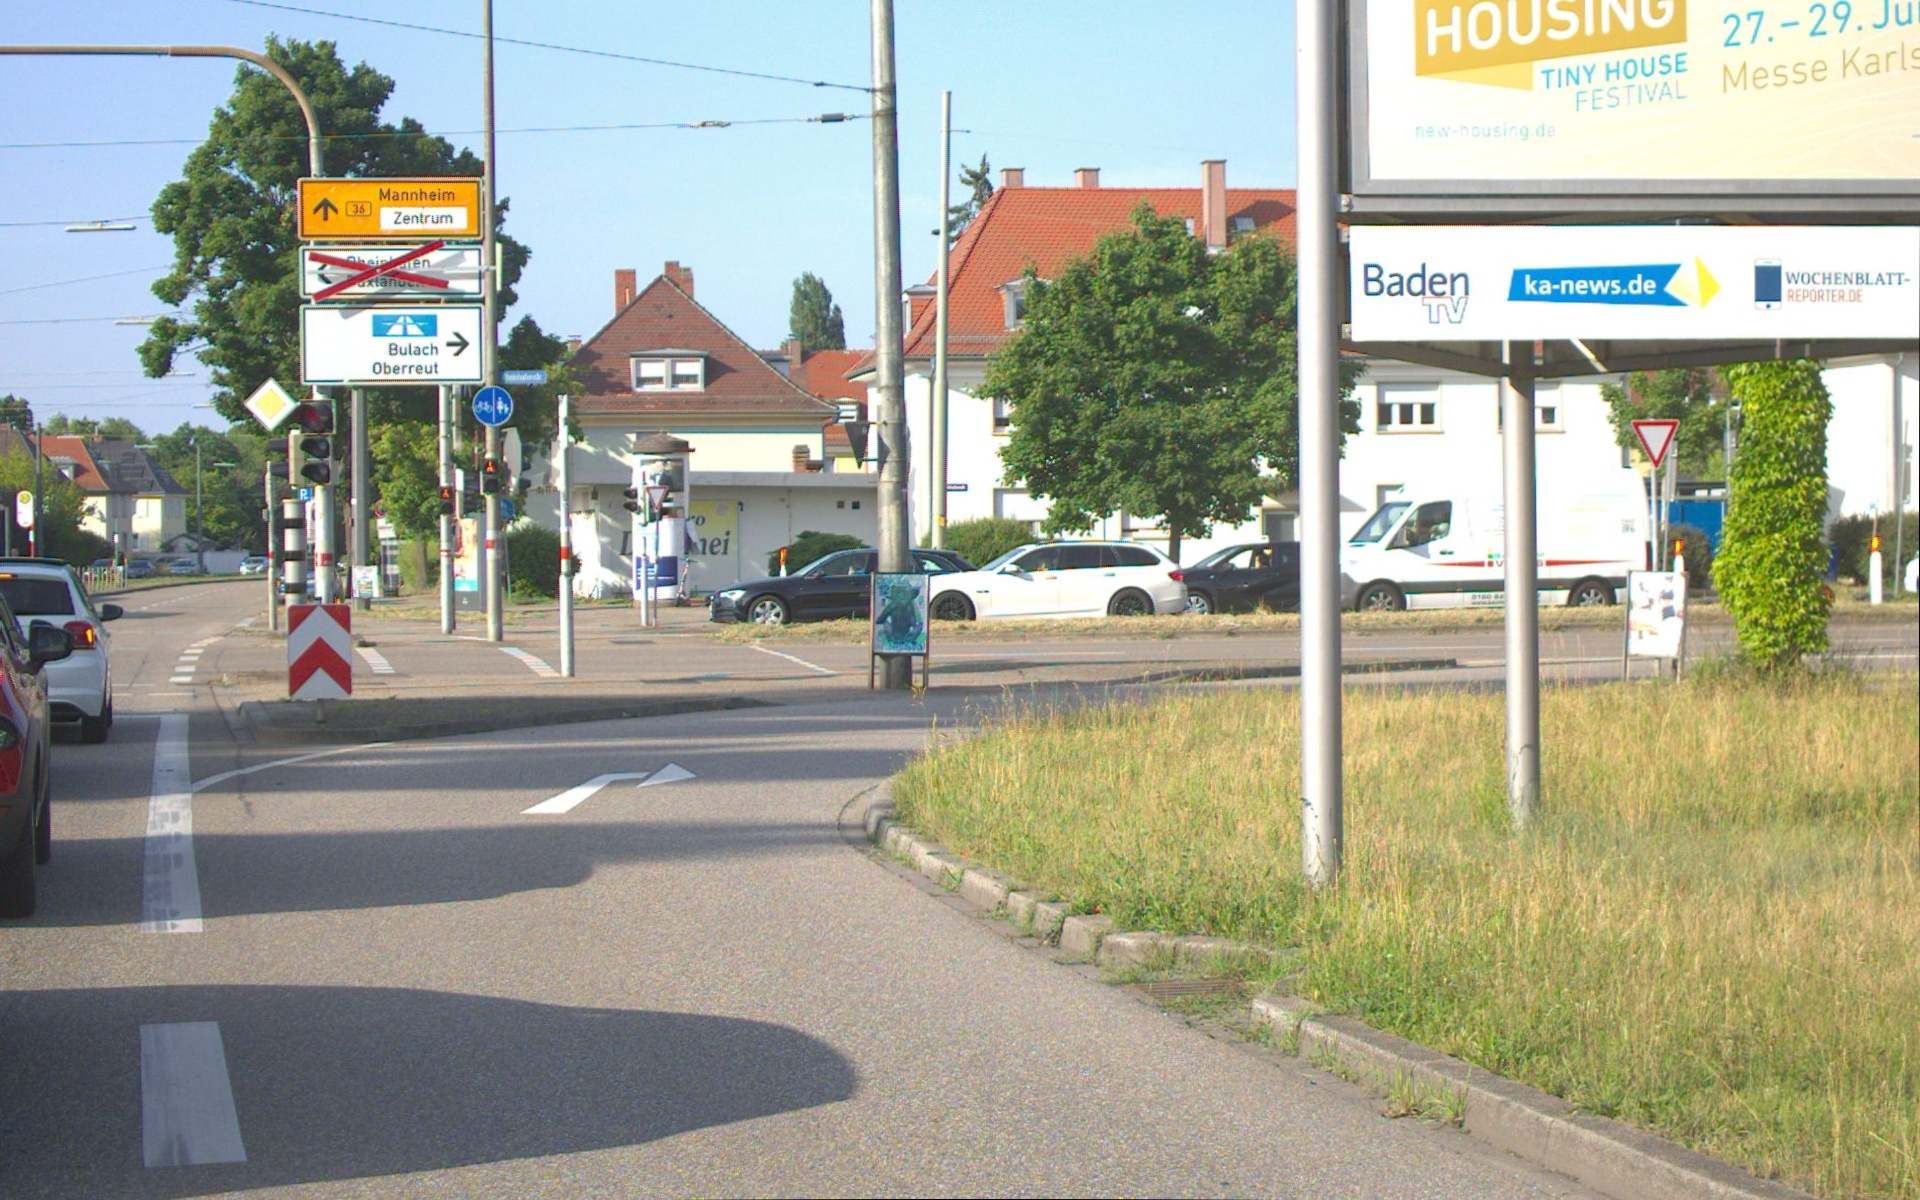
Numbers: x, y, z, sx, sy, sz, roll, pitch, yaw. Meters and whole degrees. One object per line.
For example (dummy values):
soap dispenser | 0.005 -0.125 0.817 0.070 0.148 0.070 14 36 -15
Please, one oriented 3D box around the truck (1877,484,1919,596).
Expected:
truck | 23.916 -1.340 76.732 6.353 2.515 2.272 1 2 44

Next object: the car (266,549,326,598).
car | -19.589 -0.757 101.421 1.674 1.393 4.001 1 0 -11

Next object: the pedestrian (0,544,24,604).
pedestrian | -23.780 -0.645 85.760 0.753 1.494 0.827 1 0 -9

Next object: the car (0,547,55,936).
car | -4.981 0.548 15.434 1.706 1.546 3.979 -1 1 -14

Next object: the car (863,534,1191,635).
car | 1.075 -0.271 56.408 5.093 1.557 1.840 -1 1 -11

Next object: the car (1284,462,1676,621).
car | 8.751 -0.999 57.959 6.206 2.575 2.001 -1 1 -11

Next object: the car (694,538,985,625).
car | -2.109 -0.330 59.574 4.822 1.406 1.716 -1 1 -11

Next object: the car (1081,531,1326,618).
car | 4.280 -0.460 60.676 3.986 1.448 1.716 -1 1 -11

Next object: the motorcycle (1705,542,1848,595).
motorcycle | 13.821 -0.540 58.173 2.270 0.863 0.691 -1 1 -12

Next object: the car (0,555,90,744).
car | -8.059 0.364 28.357 1.656 1.438 4.015 -1 1 -14

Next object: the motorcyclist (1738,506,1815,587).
motorcyclist | 13.814 -0.905 58.162 1.065 1.347 0.680 -1 1 -12
